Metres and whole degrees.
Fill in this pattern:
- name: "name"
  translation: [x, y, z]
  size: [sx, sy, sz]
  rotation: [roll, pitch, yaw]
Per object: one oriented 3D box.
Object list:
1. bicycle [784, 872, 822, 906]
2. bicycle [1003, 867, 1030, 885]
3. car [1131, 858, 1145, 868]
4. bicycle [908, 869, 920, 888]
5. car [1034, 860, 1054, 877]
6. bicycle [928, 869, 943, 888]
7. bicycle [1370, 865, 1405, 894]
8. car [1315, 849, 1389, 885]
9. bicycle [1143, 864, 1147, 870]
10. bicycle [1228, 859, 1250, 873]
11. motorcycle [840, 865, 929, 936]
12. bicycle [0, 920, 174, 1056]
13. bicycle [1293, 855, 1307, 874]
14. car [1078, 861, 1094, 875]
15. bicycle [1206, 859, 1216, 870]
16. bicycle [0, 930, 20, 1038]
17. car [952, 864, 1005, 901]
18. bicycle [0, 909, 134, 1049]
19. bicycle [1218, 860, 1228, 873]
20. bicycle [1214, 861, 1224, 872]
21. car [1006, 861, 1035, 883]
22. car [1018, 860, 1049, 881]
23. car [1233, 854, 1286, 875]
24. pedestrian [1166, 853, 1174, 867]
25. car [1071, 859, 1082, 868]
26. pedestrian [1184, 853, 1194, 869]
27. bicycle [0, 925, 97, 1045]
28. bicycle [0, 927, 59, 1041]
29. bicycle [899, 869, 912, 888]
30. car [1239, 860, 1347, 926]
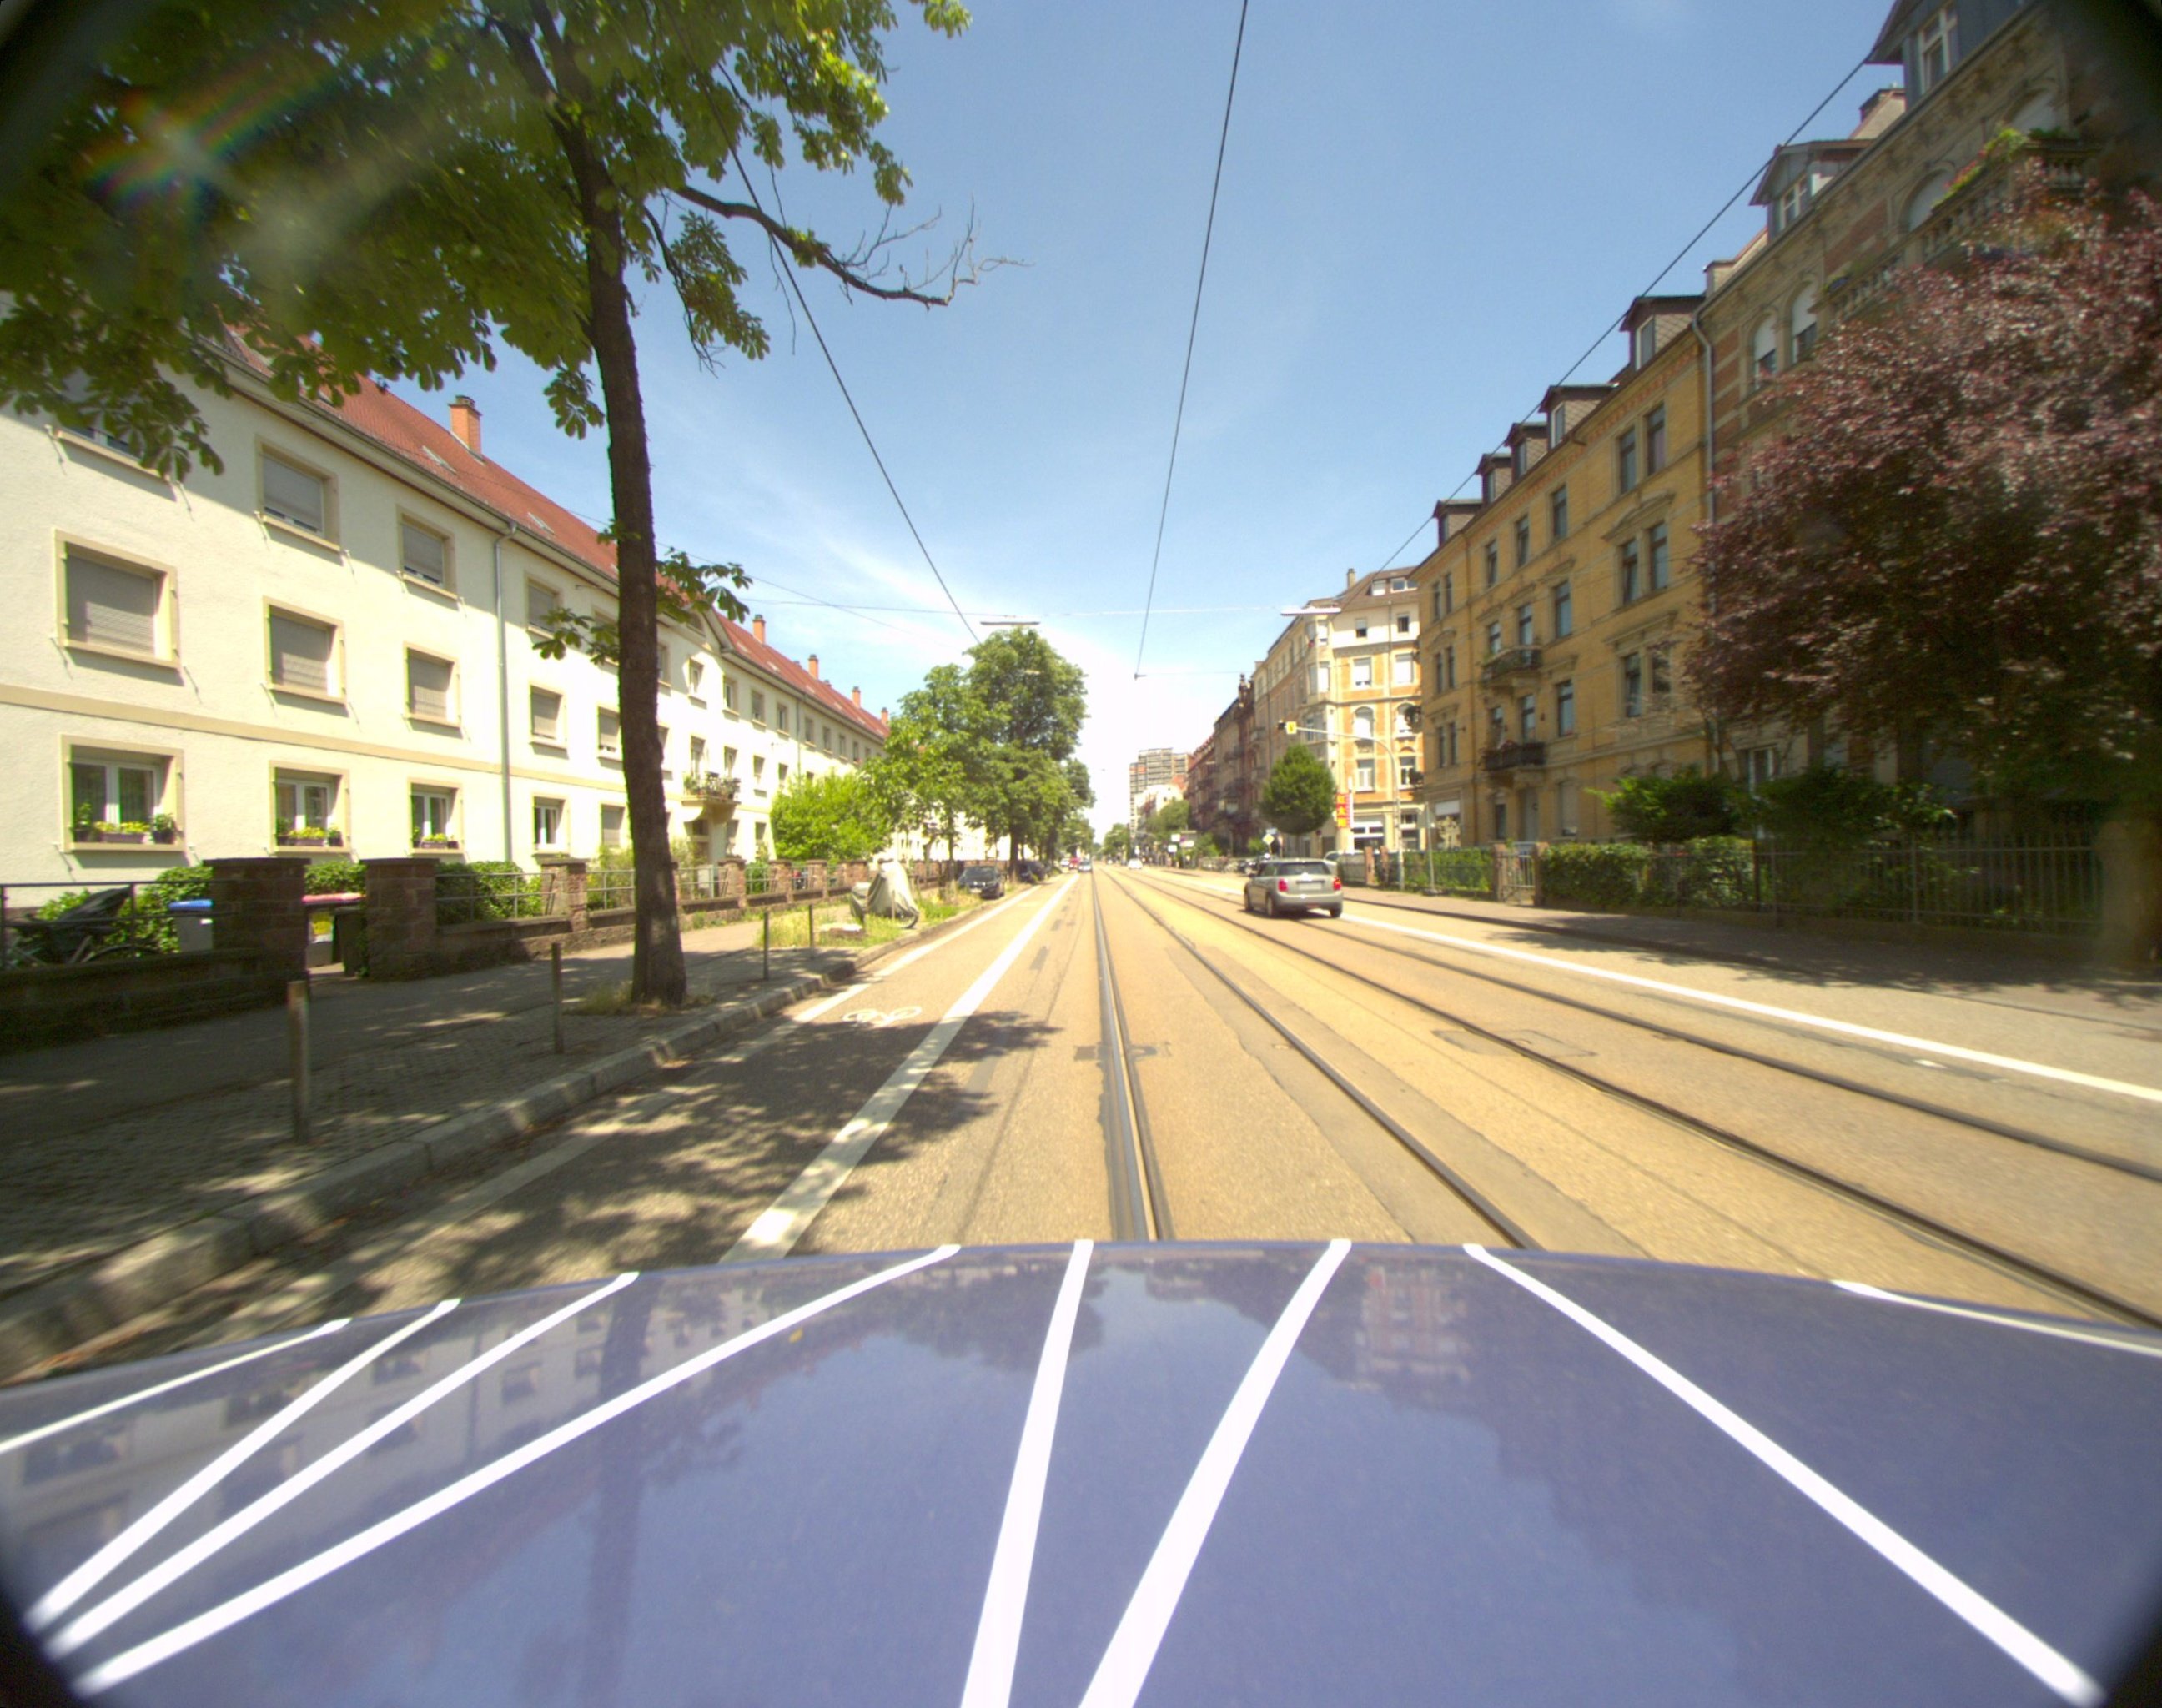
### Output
- name: "bicycle"
  translation: [-9.542, 1.180, 26.123]
  size: [0.500, 1.096, 1.807]
  rotation: [-1, 0, 3]
- name: "bicycle"
  translation: [-4.088, 1.401, 47.876]
  size: [1.658, 1.072, 0.606]
  rotation: [-2, 0, -7]
- name: "car"
  translation: [8.063, 1.248, 108.198]
  size: [1.760, 1.416, 4.000]
  rotation: [-1, 0, 1]
- name: "bicycle"
  translation: [-10.168, 1.483, 46.340]
  size: [0.480, 1.072, 1.923]
  rotation: [-2, 0, -5]
- name: "car"
  translation: [-3.573, 1.341, 73.348]
  size: [1.737, 1.543, 4.453]
  rotation: [-2, -1, -1]
- name: "bicycle"
  translation: [-8.836, 1.483, 46.155]
  size: [0.480, 1.072, 1.924]
  rotation: [-2, 0, 0]
- name: "bicycle"
  translation: [11.429, 0.943, 28.363]
  size: [0.455, 0.997, 1.806]
  rotation: [-2, 0, -3]
- name: "car"
  translation: [13.229, 0.629, 37.404]
  size: [1.871, 1.590, 4.100]
  rotation: [-3, 0, -4]
- name: "bicycle"
  translation: [11.412, 2.347, 135.420]
  size: [0.582, 1.072, 1.890]
  rotation: [-1, 0, 0]
- name: "bicycle"
  translation: [12.877, 0.973, 62.047]
  size: [1.709, 1.031, 0.551]
  rotation: [-2, 0, 5]
- name: "motorcycle"
  translation: [-4.603, 1.063, 17.685]
  size: [2.314, 1.531, 0.871]
  rotation: [-2, 0, 44]
- name: "bicycle"
  translation: [-9.290, 1.179, 6.791]
  size: [0.460, 1.050, 1.564]
  rotation: [-1, 0, 1]
- name: "bicycle"
  translation: [15.334, 0.749, 53.220]
  size: [0.500, 1.221, 1.853]
  rotation: [-1, 2, 29]
- name: "car"
  translation: [0.534, 1.605, 89.467]
  size: [1.737, 1.543, 4.424]
  rotation: [-2, -1, -1]
- name: "bicycle"
  translation: [12.062, 0.949, 70.650]
  size: [0.498, 0.981, 1.711]
  rotation: [-6, 0, -1]
- name: "bicycle"
  translation: [-10.911, 1.285, 6.852]
  size: [0.460, 1.050, 1.564]
  rotation: [-1, 0, 1]
- name: "car"
  translation: [-4.383, 1.195, 33.214]
  size: [1.774, 1.418, 4.861]
  rotation: [-2, -1, -2]
- name: "bicycle"
  translation: [-9.817, 1.146, 6.892]
  size: [0.460, 1.184, 1.564]
  rotation: [-1, 0, 1]
- name: "bicycle"
  translation: [11.866, 1.036, 63.466]
  size: [0.440, 0.977, 1.711]
  rotation: [-2, 0, -1]
- name: "bicycle"
  translation: [11.906, 1.069, 65.507]
  size: [0.440, 0.977, 1.711]
  rotation: [-2, 0, -1]
- name: "car"
  translation: [-4.145, 1.190, 52.450]
  size: [1.699, 1.410, 4.357]
  rotation: [-2, -1, -2]
- name: "car"
  translation: [-3.851, 1.324, 62.429]
  size: [1.952, 1.641, 4.881]
  rotation: [-2, -1, 4]
- name: "car"
  translation: [14.044, 0.807, 60.045]
  size: [3.769, 1.420, 1.713]
  rotation: [-2, 1, 1]
- name: "pedestrian"
  translation: [11.447, 0.773, 97.583]
  size: [0.874, 1.690, 1.014]
  rotation: [-2, 0, 7]
- name: "car"
  translation: [-0.750, 1.560, 124.415]
  size: [1.737, 1.543, 4.424]
  rotation: [-2, -1, -1]
- name: "pedestrian"
  translation: [11.874, 0.750, 83.693]
  size: [0.853, 1.713, 1.139]
  rotation: [-5, 0, 1]
- name: "bicycle"
  translation: [-10.194, 1.238, 6.892]
  size: [0.460, 1.050, 1.564]
  rotation: [-1, 0, 1]
- name: "bicycle"
  translation: [-10.526, 1.260, 6.858]
  size: [0.460, 1.050, 1.564]
  rotation: [-1, 0, 1]
- name: "bicycle"
  translation: [-10.699, 1.493, 46.298]
  size: [0.480, 1.072, 1.923]
  rotation: [-2, 0, -5]
- name: "car"
  translation: [5.269, 0.910, 19.341]
  size: [1.690, 1.446, 3.748]
  rotation: [-2, 0, 1]
